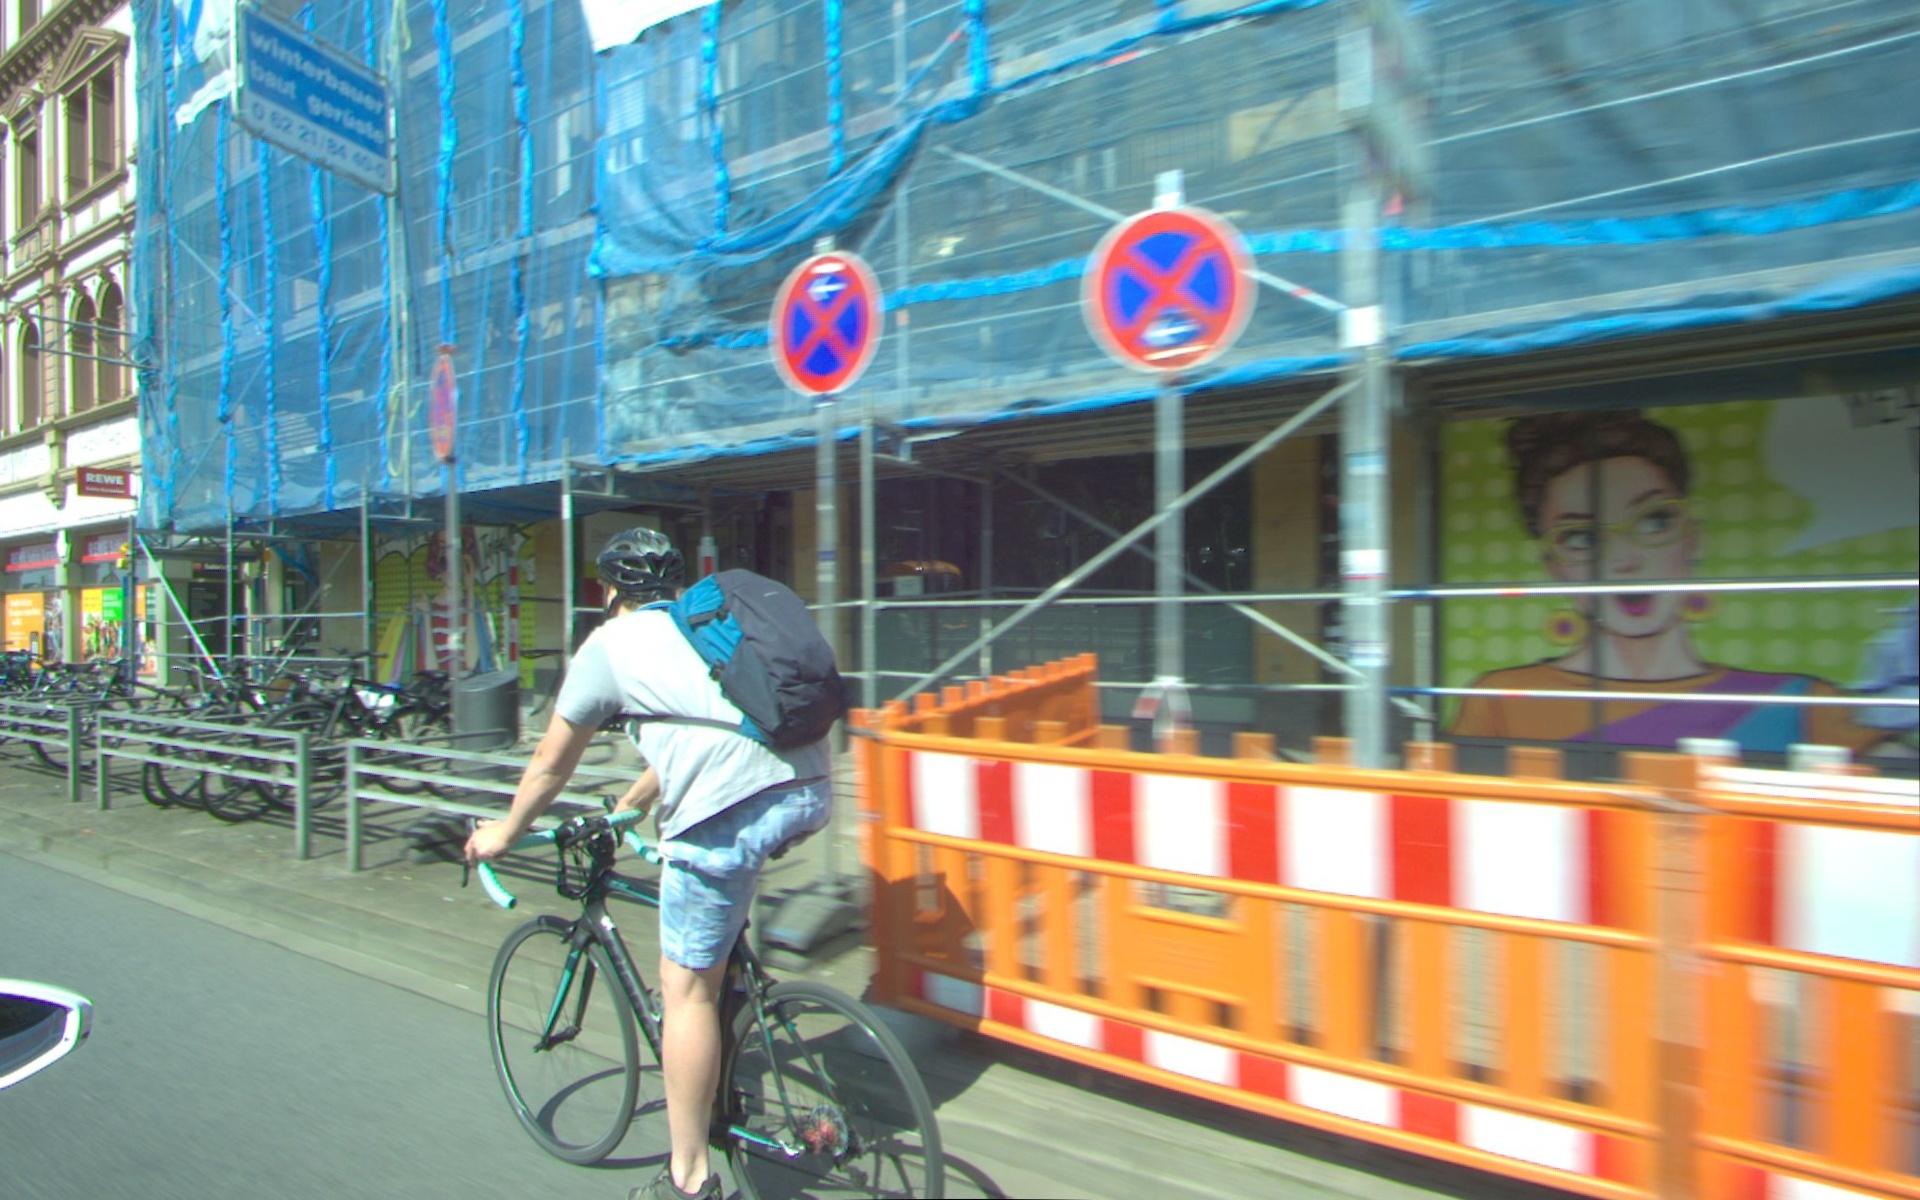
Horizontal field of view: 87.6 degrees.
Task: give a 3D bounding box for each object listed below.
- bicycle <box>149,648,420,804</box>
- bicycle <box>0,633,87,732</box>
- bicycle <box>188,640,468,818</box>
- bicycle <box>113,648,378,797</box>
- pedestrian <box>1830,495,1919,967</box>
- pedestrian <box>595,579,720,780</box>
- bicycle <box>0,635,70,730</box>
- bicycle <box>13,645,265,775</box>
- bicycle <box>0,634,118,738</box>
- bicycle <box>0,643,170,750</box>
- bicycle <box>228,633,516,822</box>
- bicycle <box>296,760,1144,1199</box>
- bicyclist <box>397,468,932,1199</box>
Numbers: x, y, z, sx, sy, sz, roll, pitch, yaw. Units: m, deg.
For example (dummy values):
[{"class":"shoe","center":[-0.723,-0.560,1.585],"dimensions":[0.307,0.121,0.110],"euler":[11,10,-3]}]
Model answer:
[{"class":"bicycle","center":[-5.356,0.951,8.050],"dimensions":[0.600,1.111,1.691],"euler":[-1,-3,33]},{"class":"bicycle","center":[-11.913,1.008,12.286],"dimensions":[0.600,1.193,1.691],"euler":[-1,-3,33]},{"class":"bicycle","center":[-4.726,0.915,7.611],"dimensions":[0.600,1.193,1.691],"euler":[-1,-3,33]},{"class":"bicycle","center":[-5.910,0.969,8.391],"dimensions":[0.600,1.111,1.691],"euler":[-1,-3,33]},{"class":"pedestrian","center":[3.995,0.511,4.004],"dimensions":[0.640,1.798,0.638],"euler":[-1,-3,32]},{"class":"pedestrian","center":[-2.573,0.666,8.546],"dimensions":[0.753,1.621,0.644],"euler":[-1,-3,26]},{"class":"bicycle","center":[-12.465,1.042,12.657],"dimensions":[0.600,1.193,1.691],"euler":[-1,-3,33]},{"class":"bicycle","center":[-7.746,1.001,9.540],"dimensions":[0.600,1.123,1.736],"euler":[-1,-3,33]},{"class":"bicycle","center":[-11.090,0.996,11.726],"dimensions":[0.600,1.193,1.768],"euler":[-1,-3,33]},{"class":"bicycle","center":[-9.874,1.037,11.058],"dimensions":[0.600,1.100,1.691],"euler":[-1,-3,33]},{"class":"bicycle","center":[-4.167,0.856,7.235],"dimensions":[0.600,1.193,1.691],"euler":[-1,-3,33]},{"class":"bicycle","center":[-0.675,1.036,2.455],"dimensions":[2.100,1.106,0.733],"euler":[-1,-4,31]},{"class":"bicyclist","center":[-0.734,0.515,2.524],"dimensions":[1.126,1.480,0.688],"euler":[-1,-3,31]}]
